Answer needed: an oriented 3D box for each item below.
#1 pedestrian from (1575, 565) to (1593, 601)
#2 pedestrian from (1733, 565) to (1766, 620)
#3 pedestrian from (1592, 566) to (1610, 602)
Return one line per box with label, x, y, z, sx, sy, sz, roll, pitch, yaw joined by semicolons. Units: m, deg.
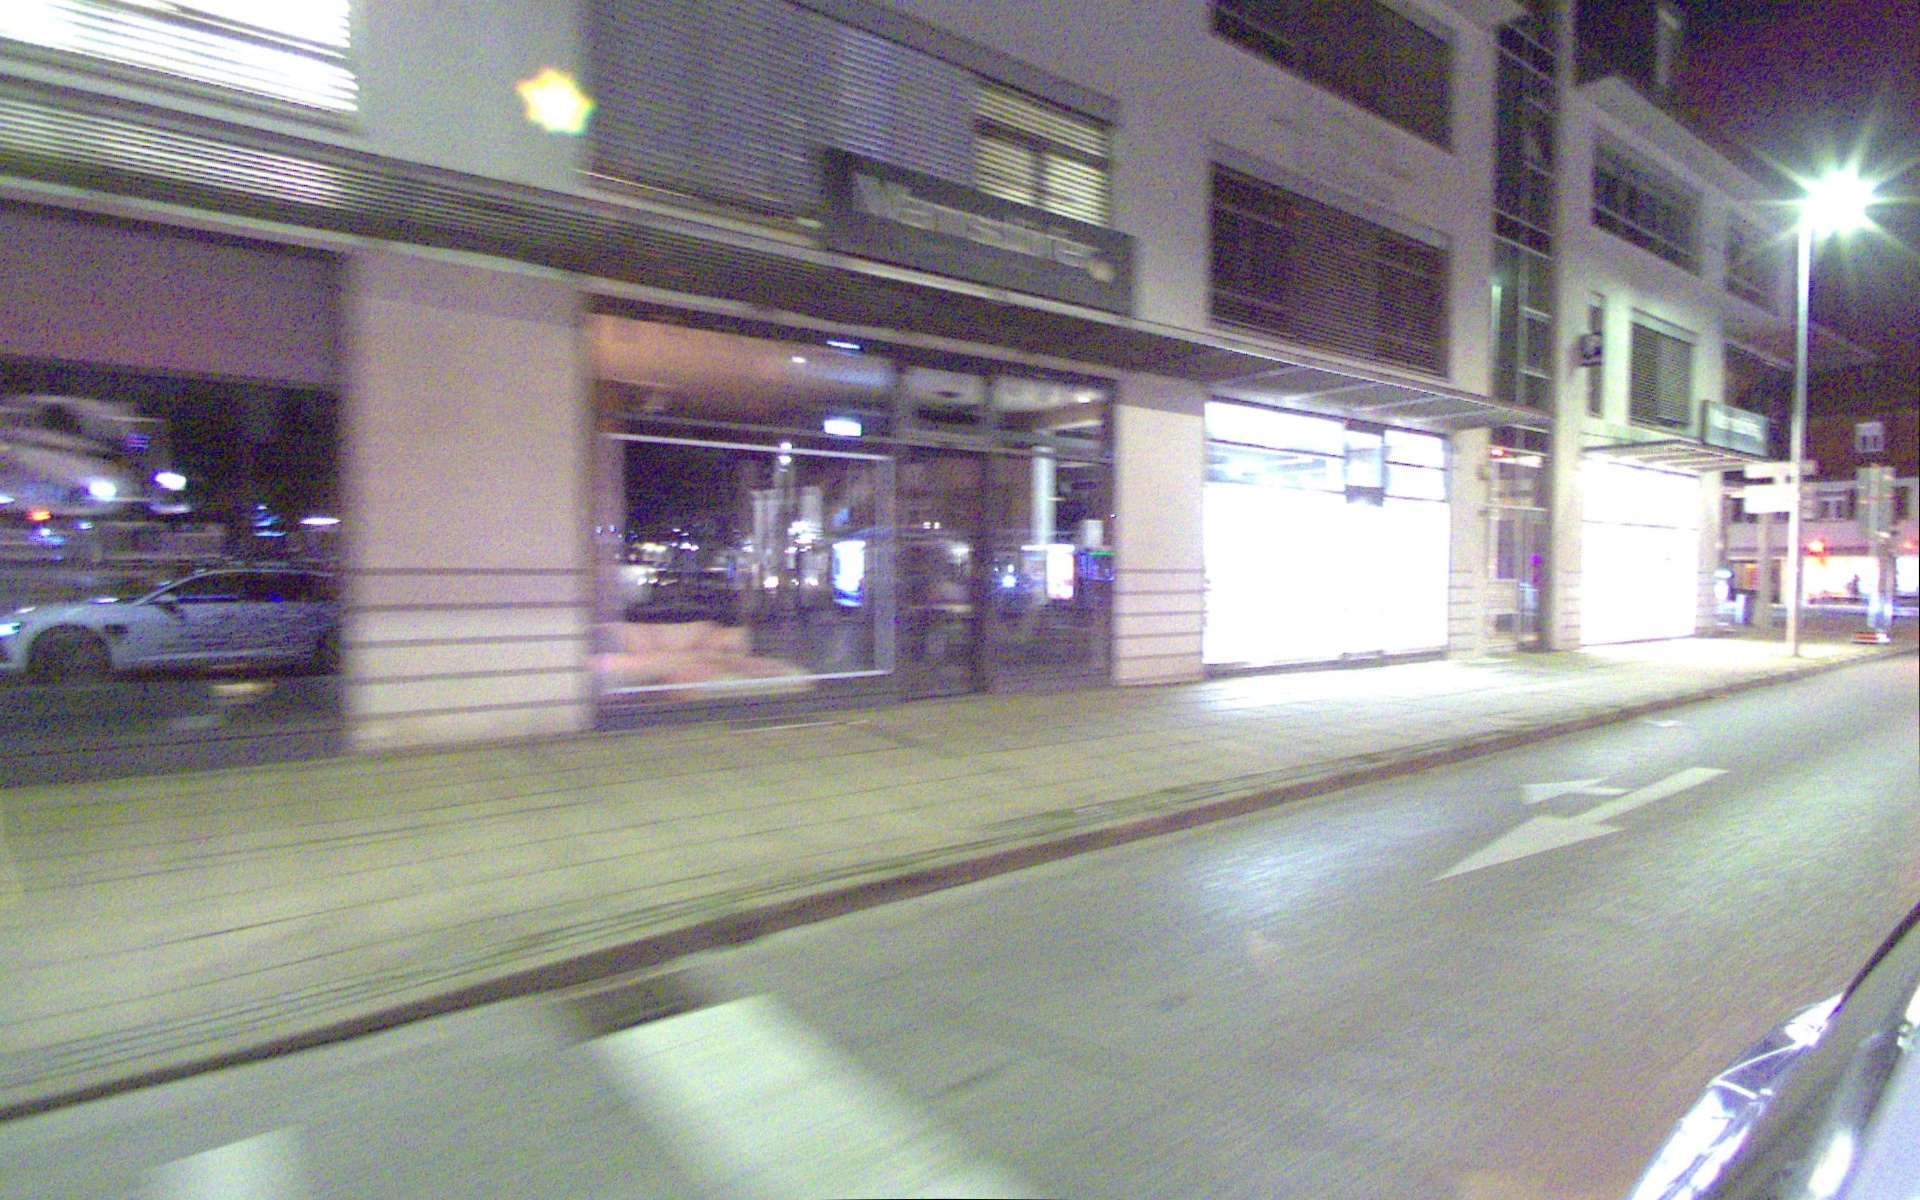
pedestrian;30.581;-0.832;49.611;0.555;1.738;0.568;-1;0;-32
pedestrian;24.874;-0.250;31.883;0.634;1.703;0.541;-1;0;-17
pedestrian;31.158;-0.766;49.212;0.555;1.738;0.525;-1;0;-33
